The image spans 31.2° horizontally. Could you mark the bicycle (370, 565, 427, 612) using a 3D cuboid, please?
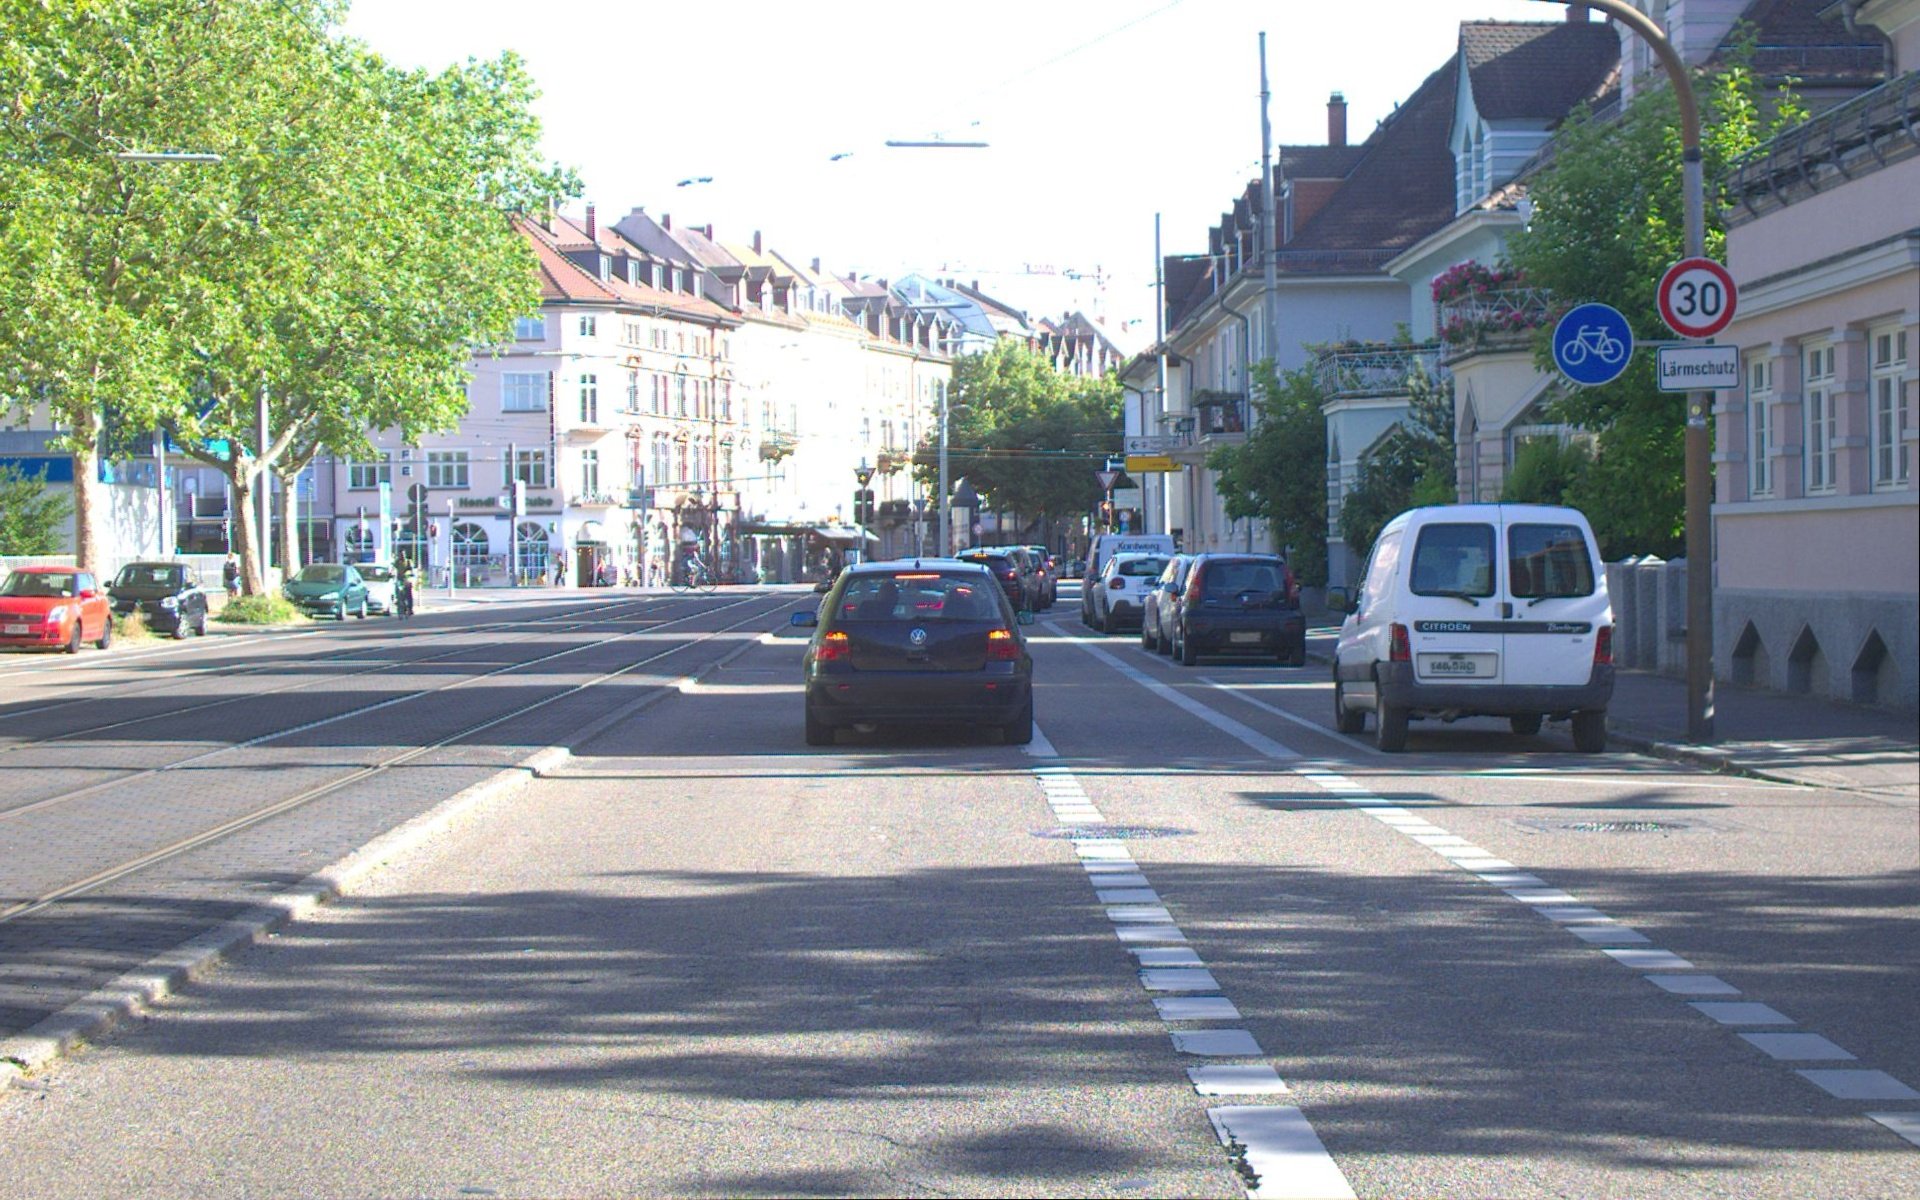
[{"bbox_3d":[-14.097,-0.301,86.376,0.914,1.079,3.203,1,1,-1],"label":"bicycle"}]

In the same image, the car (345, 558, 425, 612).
[{"bbox_3d":[-16.071,-0.432,96.249,1.636,1.467,3.729,0,1,-1],"label":"car"}]

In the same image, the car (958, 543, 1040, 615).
[{"bbox_3d":[0.805,-0.465,72.899,1.636,1.467,3.729,0,1,-1],"label":"car"}]

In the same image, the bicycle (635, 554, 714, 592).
[{"bbox_3d":[-10.133,-0.959,122.153,2.742,1.258,0.706,1,1,-1],"label":"bicycle"}]

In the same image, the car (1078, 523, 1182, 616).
[{"bbox_3d":[3.349,-0.621,68.468,1.817,1.793,4.000,0,1,-1],"label":"car"}]

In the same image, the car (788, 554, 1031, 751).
[{"bbox_3d":[-0.434,0.354,26.930,1.748,1.370,4.001,-1,1,-2],"label":"car"}]

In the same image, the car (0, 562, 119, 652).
[{"bbox_3d":[-16.153,0.118,61.101,1.570,1.528,3.572,0,0,-1],"label":"car"}]

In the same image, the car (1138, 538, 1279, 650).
[{"bbox_3d":[3.596,-0.123,50.260,1.748,1.532,3.955,-1,1,0],"label":"car"}]

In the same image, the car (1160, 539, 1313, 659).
[{"bbox_3d":[3.643,-0.049,45.857,1.661,1.520,4.036,0,1,-1],"label":"car"}]

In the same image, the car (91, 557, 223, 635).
[{"bbox_3d":[-16.369,-0.111,70.268,1.792,1.460,3.836,2,1,-1],"label":"car"}]

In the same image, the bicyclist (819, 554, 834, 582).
[{"bbox_3d":[-6.413,-1.541,164.769,0.682,1.332,0.922,1,1,-4],"label":"bicyclist"}]

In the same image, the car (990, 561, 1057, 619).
[{"bbox_3d":[1.660,-0.272,91.190,1.636,1.467,3.729,-1,1,-1],"label":"car"}]

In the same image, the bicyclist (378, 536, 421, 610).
[{"bbox_3d":[-14.093,-0.676,86.440,0.914,1.827,0.960,1,1,-1],"label":"bicyclist"}]

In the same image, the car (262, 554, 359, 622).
[{"bbox_3d":[-16.953,-0.343,89.888,1.883,1.663,3.805,1,1,-2],"label":"car"}]

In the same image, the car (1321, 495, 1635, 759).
[{"bbox_3d":[3.850,0.148,26.096,1.759,1.831,3.548,1,1,-1],"label":"car"}]

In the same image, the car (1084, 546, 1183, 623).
[{"bbox_3d":[3.179,-0.306,63.611,1.580,1.370,4.000,0,1,-1],"label":"car"}]

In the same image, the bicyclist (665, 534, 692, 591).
[{"bbox_3d":[-10.006,-1.345,122.116,0.876,2.002,0.706,1,1,-1],"label":"bicyclist"}]

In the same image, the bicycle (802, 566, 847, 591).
[{"bbox_3d":[-6.489,-1.025,164.778,2.086,1.137,0.922,1,1,-4],"label":"bicycle"}]

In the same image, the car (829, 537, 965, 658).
[{"bbox_3d":[-0.824,-0.064,46.647,1.748,1.532,3.892,-1,1,0],"label":"car"}]

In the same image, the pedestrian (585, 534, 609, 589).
[{"bbox_3d":[-17.831,-1.900,168.878,0.956,2.650,1.099,1,1,1],"label":"pedestrian"}]

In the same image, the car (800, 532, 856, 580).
[{"bbox_3d":[-4.116,-1.399,107.824,1.636,1.467,3.729,1,1,-1],"label":"car"}]

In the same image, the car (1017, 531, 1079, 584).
[{"bbox_3d":[2.503,-1.234,98.868,1.636,1.467,3.729,0,1,-1],"label":"car"}]
